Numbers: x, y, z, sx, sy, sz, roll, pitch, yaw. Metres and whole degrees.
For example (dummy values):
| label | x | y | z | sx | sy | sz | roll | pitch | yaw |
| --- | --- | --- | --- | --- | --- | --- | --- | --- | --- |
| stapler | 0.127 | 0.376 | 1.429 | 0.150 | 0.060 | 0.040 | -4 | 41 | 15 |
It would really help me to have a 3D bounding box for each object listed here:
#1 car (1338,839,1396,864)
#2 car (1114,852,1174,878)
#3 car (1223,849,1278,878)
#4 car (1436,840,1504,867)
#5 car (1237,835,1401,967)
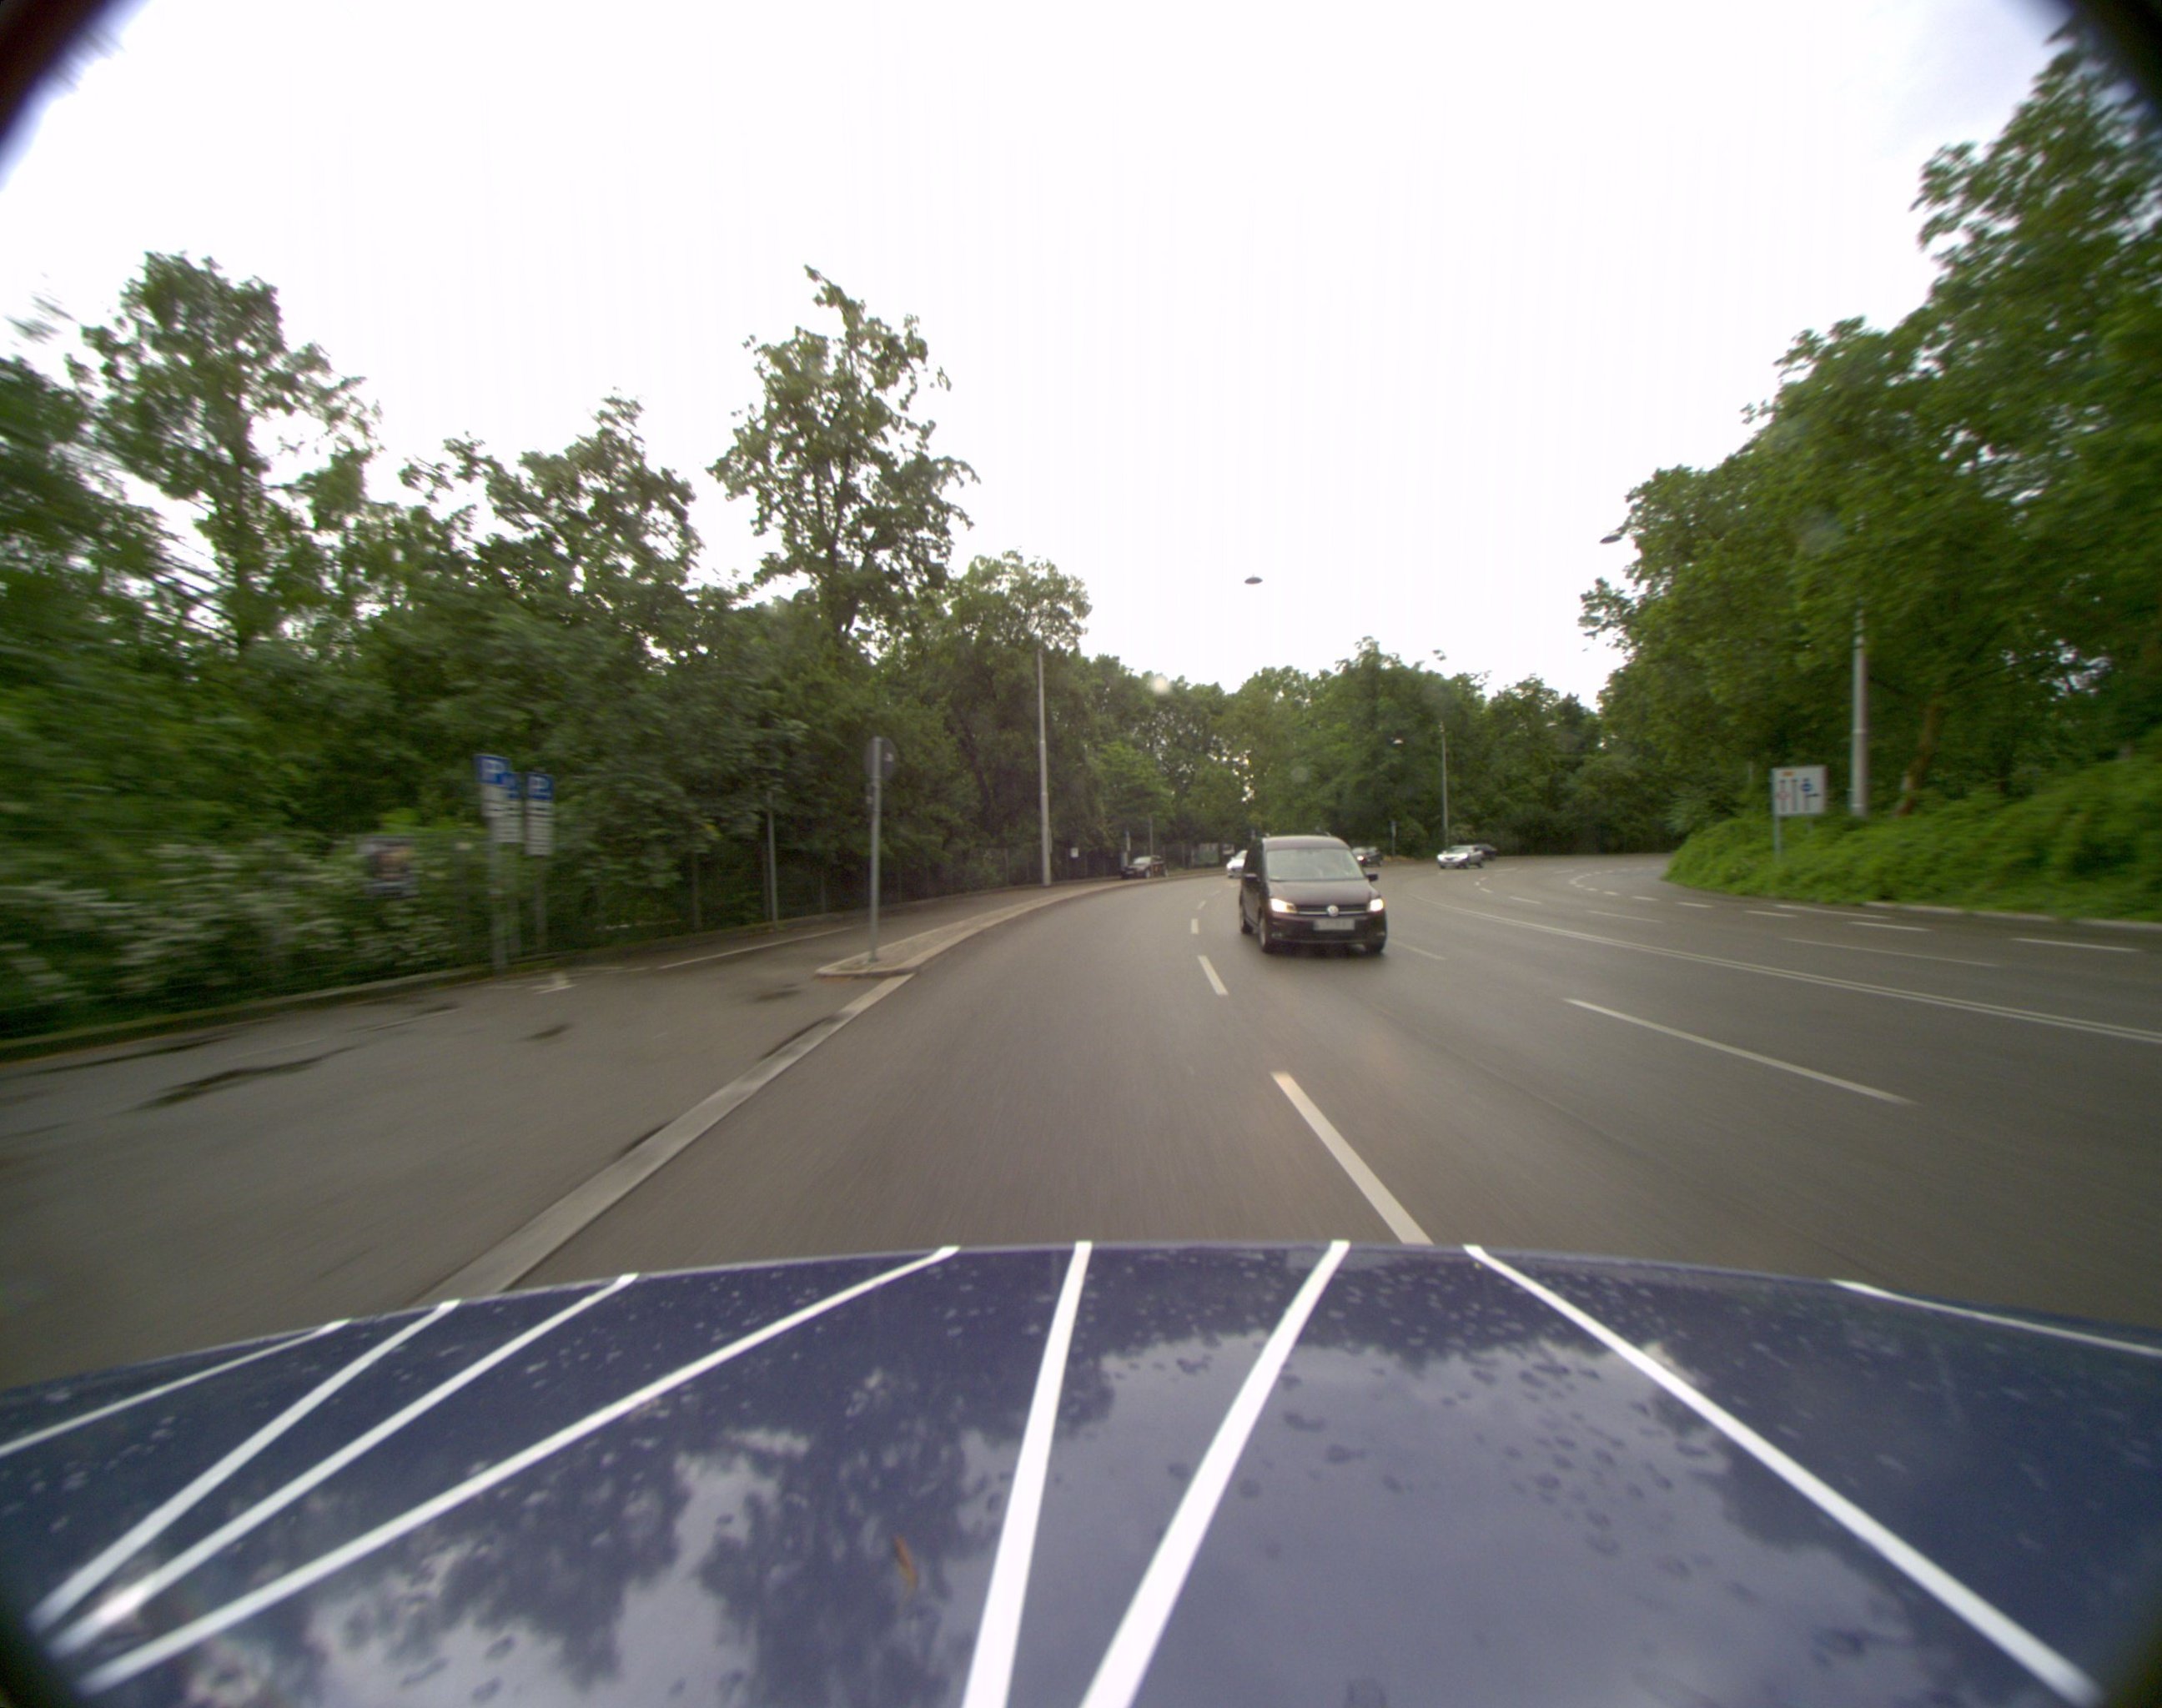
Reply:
| label | x | y | z | sx | sy | sz | roll | pitch | yaw |
| --- | --- | --- | --- | --- | --- | --- | --- | --- | --- |
| car | 21.606 | -0.205 | 57.427 | 4.006 | 1.735 | 1.995 | -2 | 1 | -30 |
| car | 3.934 | 0.647 | 47.087 | 1.874 | 1.368 | 4.182 | -5 | -2 | 32 |
| car | 9.224 | 0.491 | 41.147 | 1.791 | 1.444 | 4.007 | -1 | 1 | 30 |
| car | 27.019 | -0.057 | 52.720 | 4.662 | 1.735 | 1.995 | -2 | 1 | -30 |
| car | 3.662 | 0.616 | 12.420 | 1.794 | 1.789 | 4.126 | -1 | 1 | 7 |
